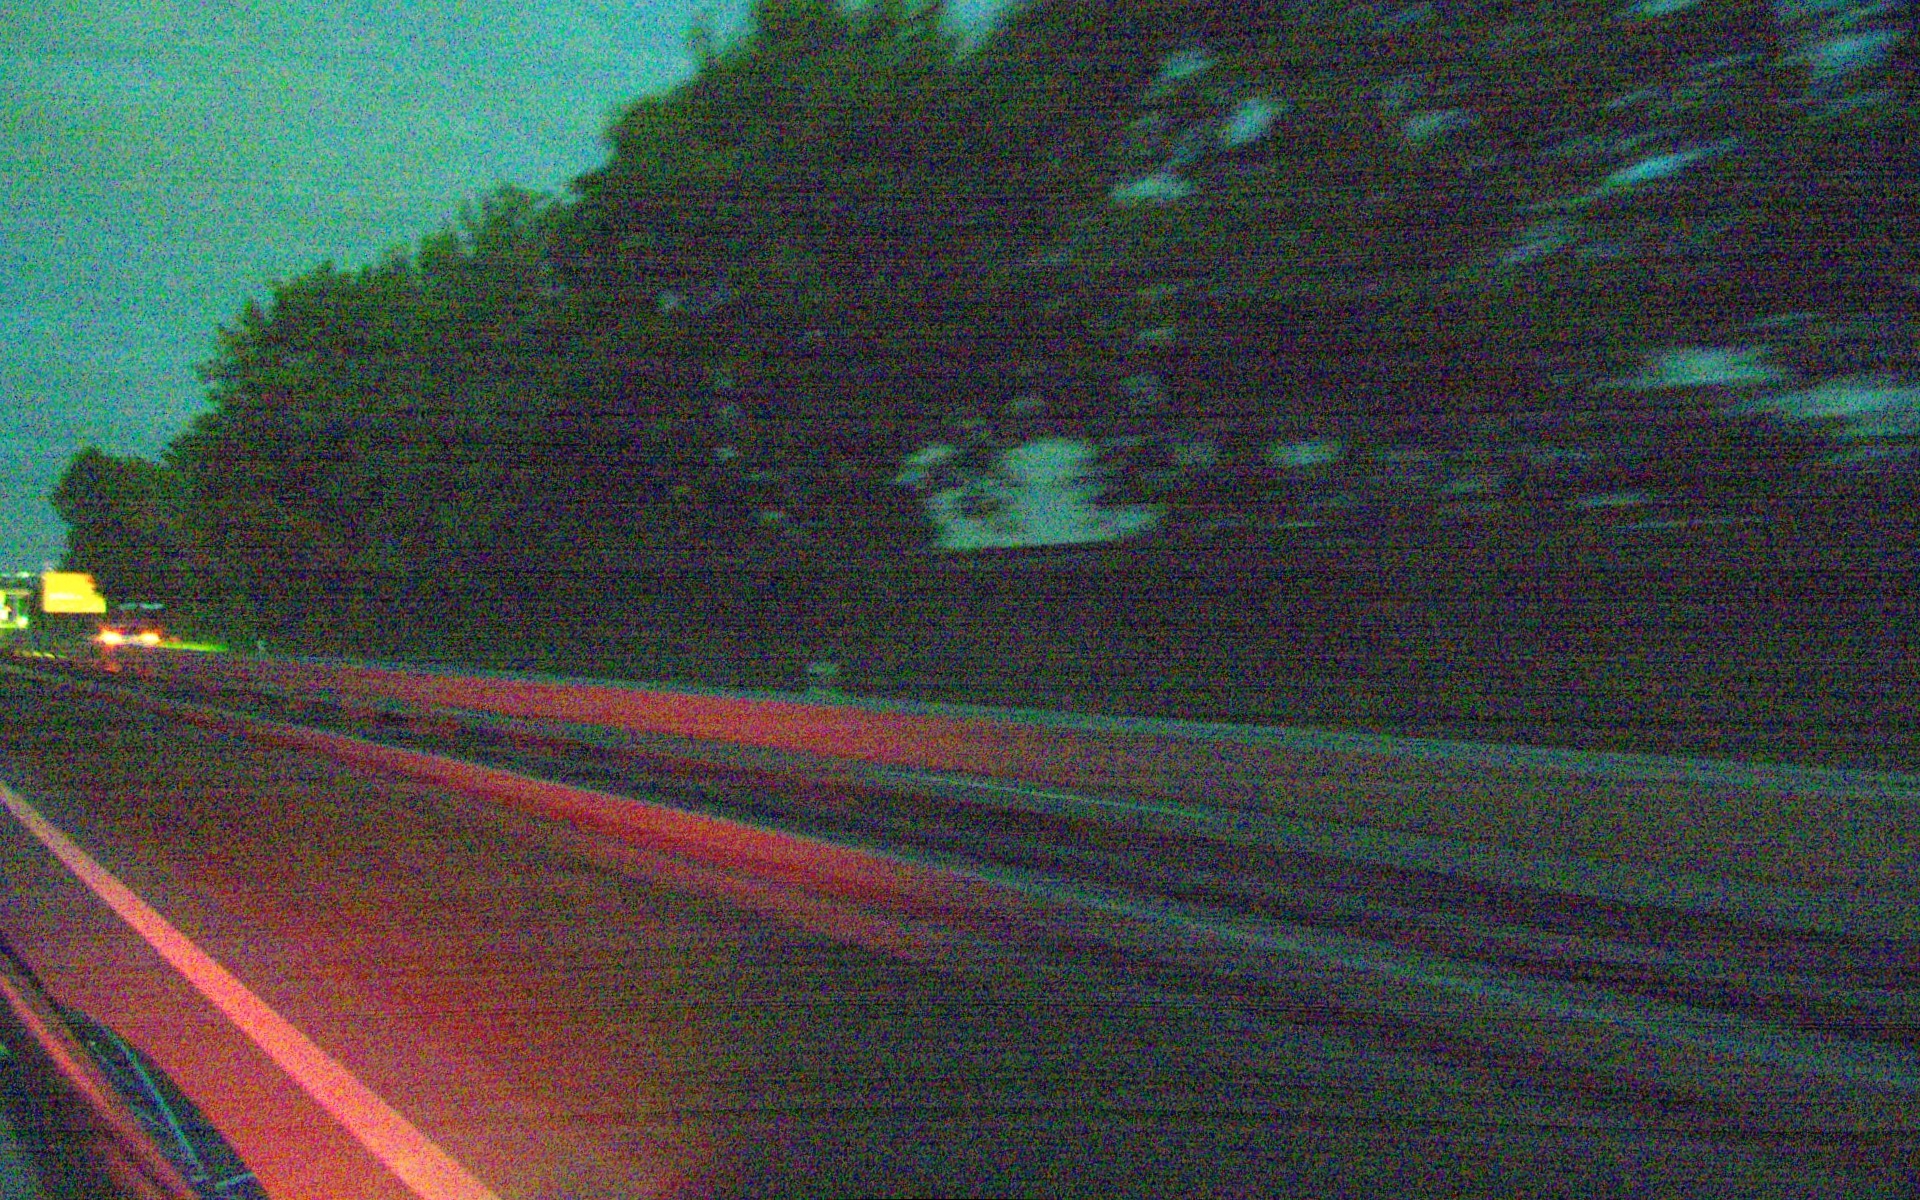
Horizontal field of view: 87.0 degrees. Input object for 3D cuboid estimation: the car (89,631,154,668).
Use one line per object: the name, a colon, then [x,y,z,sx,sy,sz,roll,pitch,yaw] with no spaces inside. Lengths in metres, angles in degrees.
car: [-36.905,2.137,44.508,3.867,1.518,1.600,-1,-1,41]
